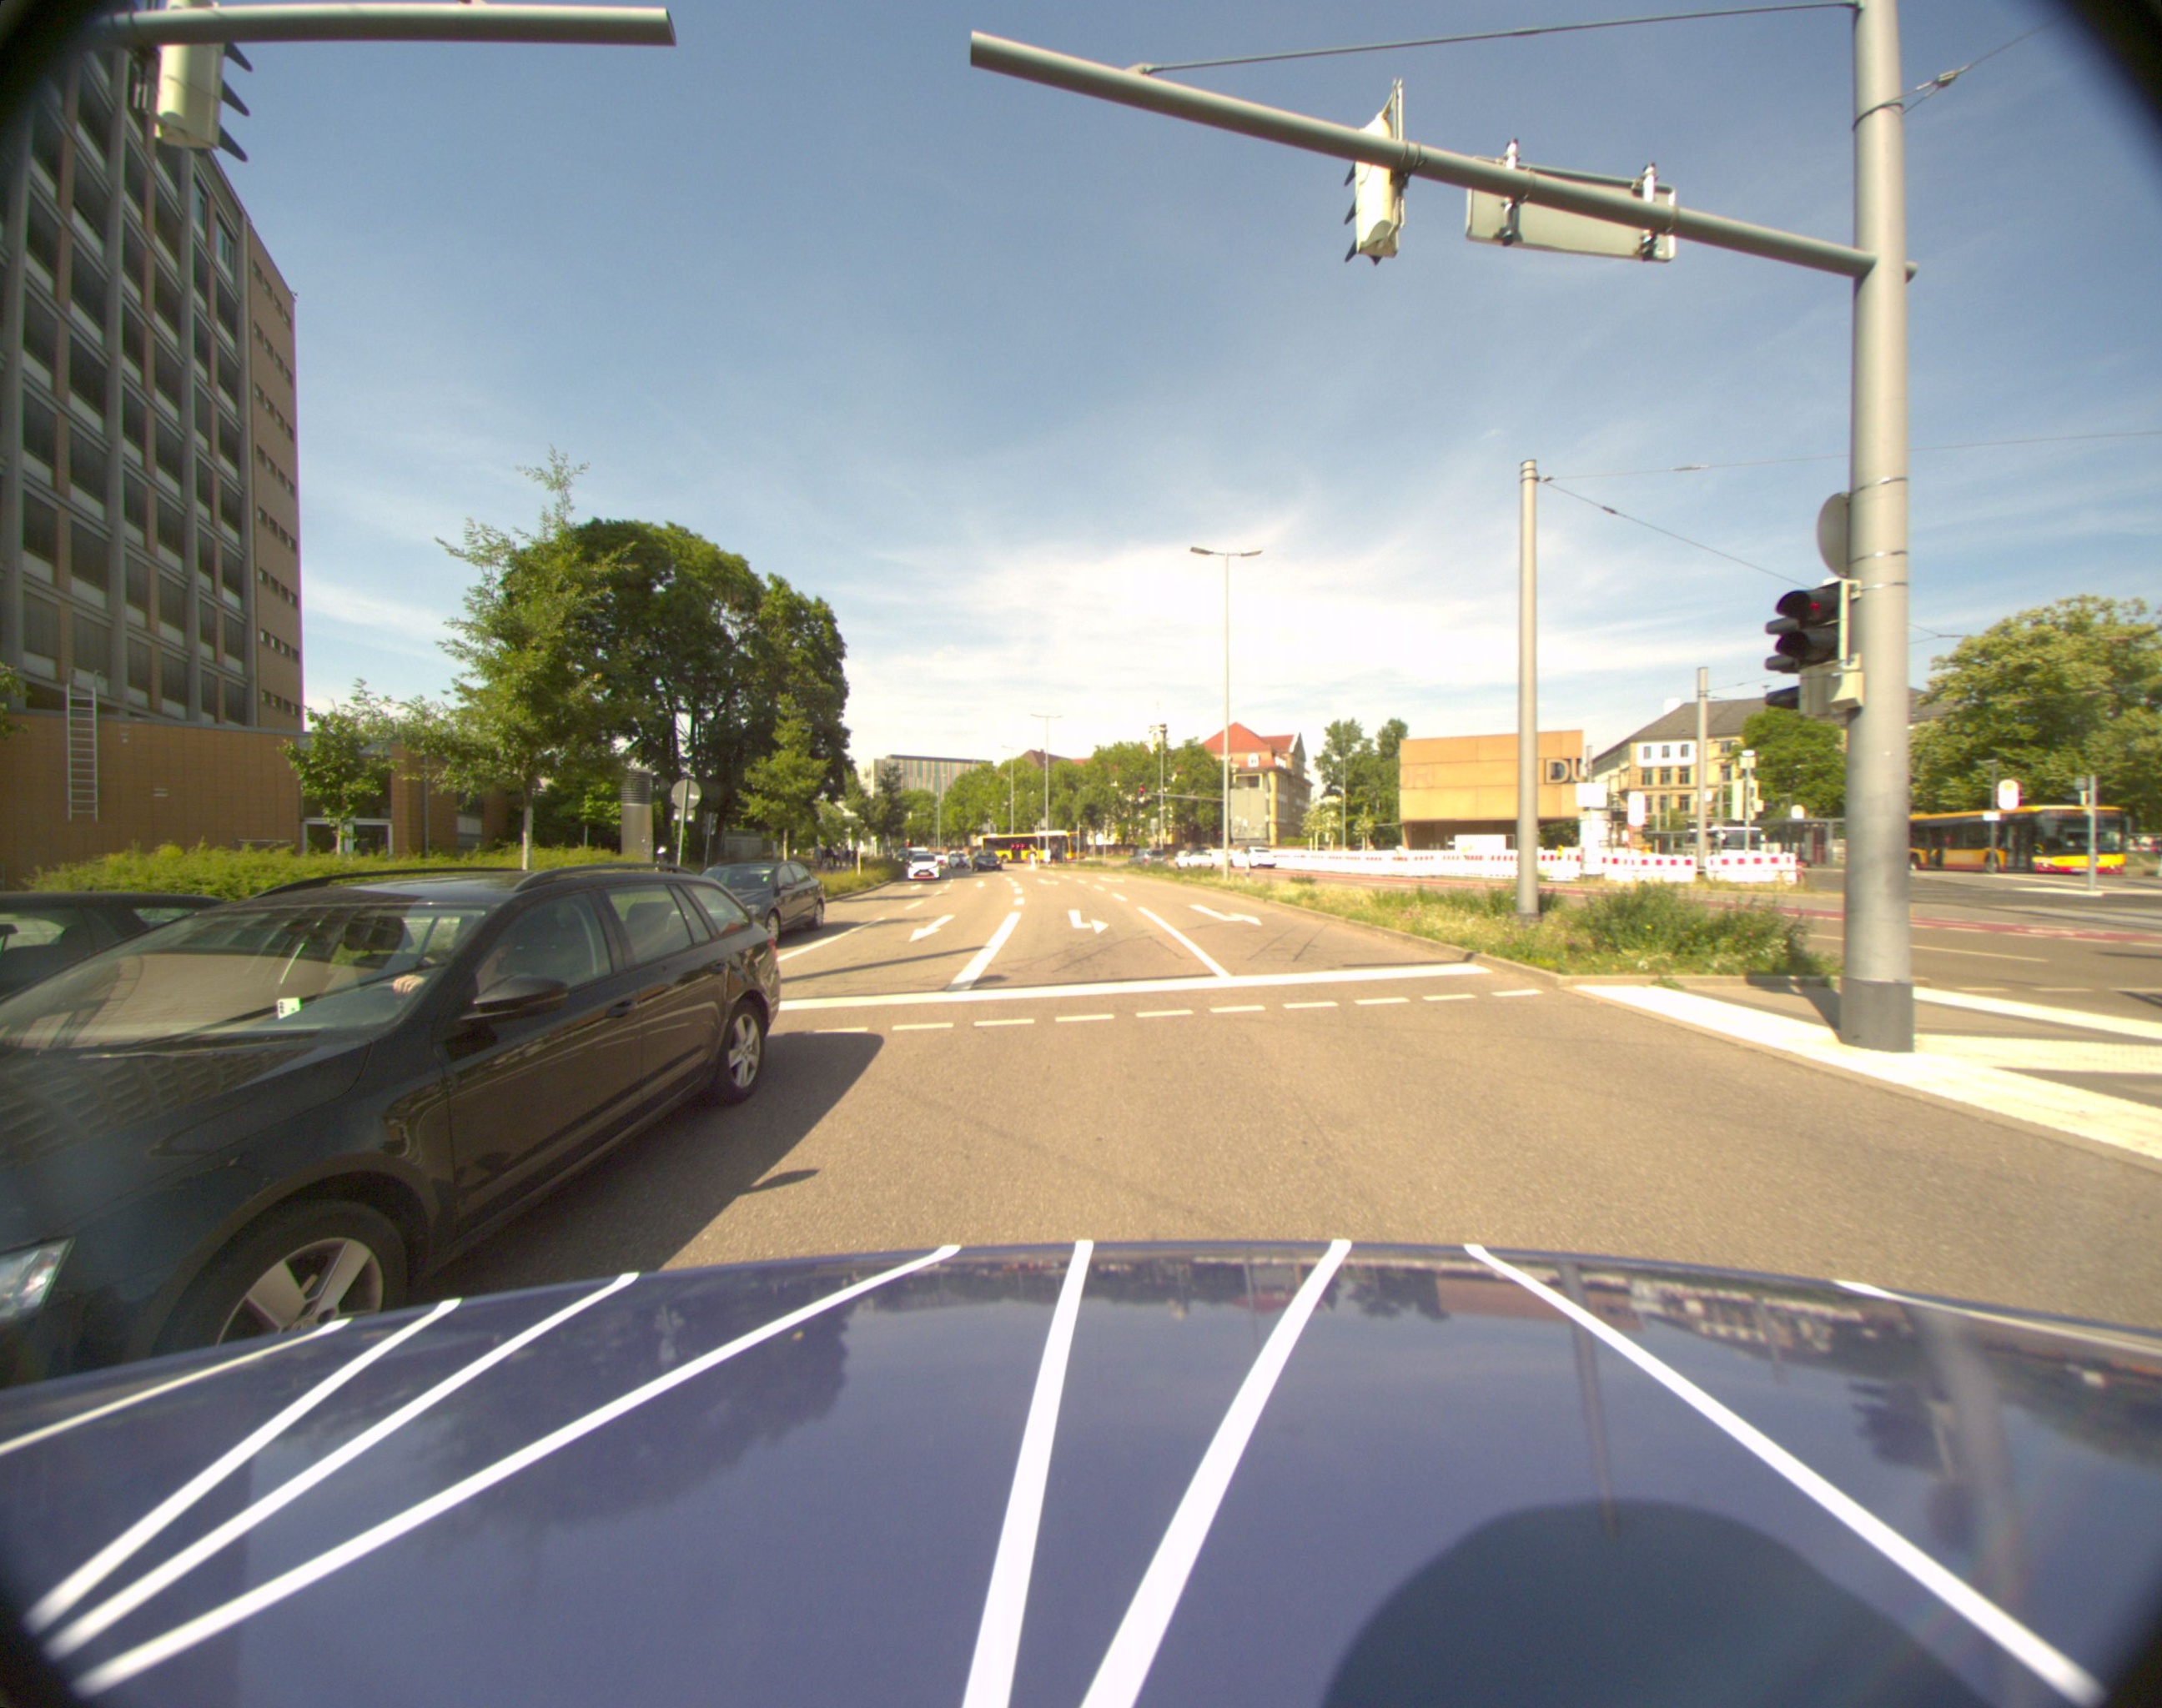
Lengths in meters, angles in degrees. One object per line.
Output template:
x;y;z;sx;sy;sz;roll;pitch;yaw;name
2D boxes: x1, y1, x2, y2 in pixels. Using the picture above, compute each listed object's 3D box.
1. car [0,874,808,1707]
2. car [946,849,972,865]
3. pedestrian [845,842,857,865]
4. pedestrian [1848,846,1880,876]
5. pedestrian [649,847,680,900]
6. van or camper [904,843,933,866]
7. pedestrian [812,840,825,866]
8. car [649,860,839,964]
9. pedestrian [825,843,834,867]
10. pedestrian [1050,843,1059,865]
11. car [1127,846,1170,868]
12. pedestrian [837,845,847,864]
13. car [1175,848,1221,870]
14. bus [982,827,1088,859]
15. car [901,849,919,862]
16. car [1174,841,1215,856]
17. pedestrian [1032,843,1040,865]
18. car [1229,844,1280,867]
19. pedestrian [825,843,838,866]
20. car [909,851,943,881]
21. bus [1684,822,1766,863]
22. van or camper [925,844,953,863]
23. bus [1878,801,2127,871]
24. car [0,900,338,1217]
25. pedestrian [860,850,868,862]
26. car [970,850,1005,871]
-2.831;0.935;3.218;1.635;1.427;4.778;-1;1;-1;car
-10.521;0.266;65.447;1.492;1.286;3.479;-3;2;-20;car
-16.503;-0.041;54.505;0.643;1.664;0.752;1;2;-2;pedestrian
36.794;0.316;35.702;0.539;1.359;0.911;-2;2;-1;pedestrian
-13.413;0.615;24.481;0.593;1.655;0.731;1;2;-2;pedestrian
-14.161;0.044;65.980;1.732;1.877;4.913;-3;2;-20;van or camper
-18.522;-0.066;53.689;0.643;1.827;0.731;1;2;-2;pedestrian
-5.945;0.917;14.051;1.635;1.427;4.526;-1;1;-3;car
-18.788;0.048;56.759;0.644;1.754;0.474;0;2;-23;pedestrian
-2.026;0.024;58.089;0.643;1.664;0.752;0;1;-2;pedestrian
4.354;0.170;49.404;1.600;1.279;3.995;-3;1;-12;car
-17.993;0.021;57.114;0.644;1.438;0.568;0;2;-23;pedestrian
7.502;0.319;49.157;1.600;1.279;3.995;-3;1;-12;car
-4.852;-1.069;76.246;12.112;3.021;2.803;0;1;41;bus
-17.862;0.173;79.301;1.492;1.286;3.480;0;1;-18;car
12.429;-0.635;83.410;4.118;1.435;1.755;-3;2;-27;car
-3.396;-0.014;57.671;0.541;1.664;0.752;0;1;-2;pedestrian
11.735;0.094;51.569;1.804;1.412;3.995;-3;1;-12;car
-17.627;0.016;53.685;0.643;1.617;0.731;1;2;-2;pedestrian
-8.408;0.612;41.337;1.683;1.466;3.755;-3;1;-11;car
57.572;-1.011;68.324;2.751;3.304;11.809;0;1;26;bus
-14.509;-0.032;77.437;1.923;1.877;4.913;-1;1;-21;van or camper
42.080;-0.906;35.497;2.751;2.667;11.806;-1;2;26;bus
-6.105;1.063;3.142;1.704;1.421;4.397;0;1;0;car
-20.624;0.187;72.214;0.644;1.125;0.751;1;2;-17;pedestrian
-6.889;0.419;55.723;1.653;1.416;4.113;-3;1;-19;car
